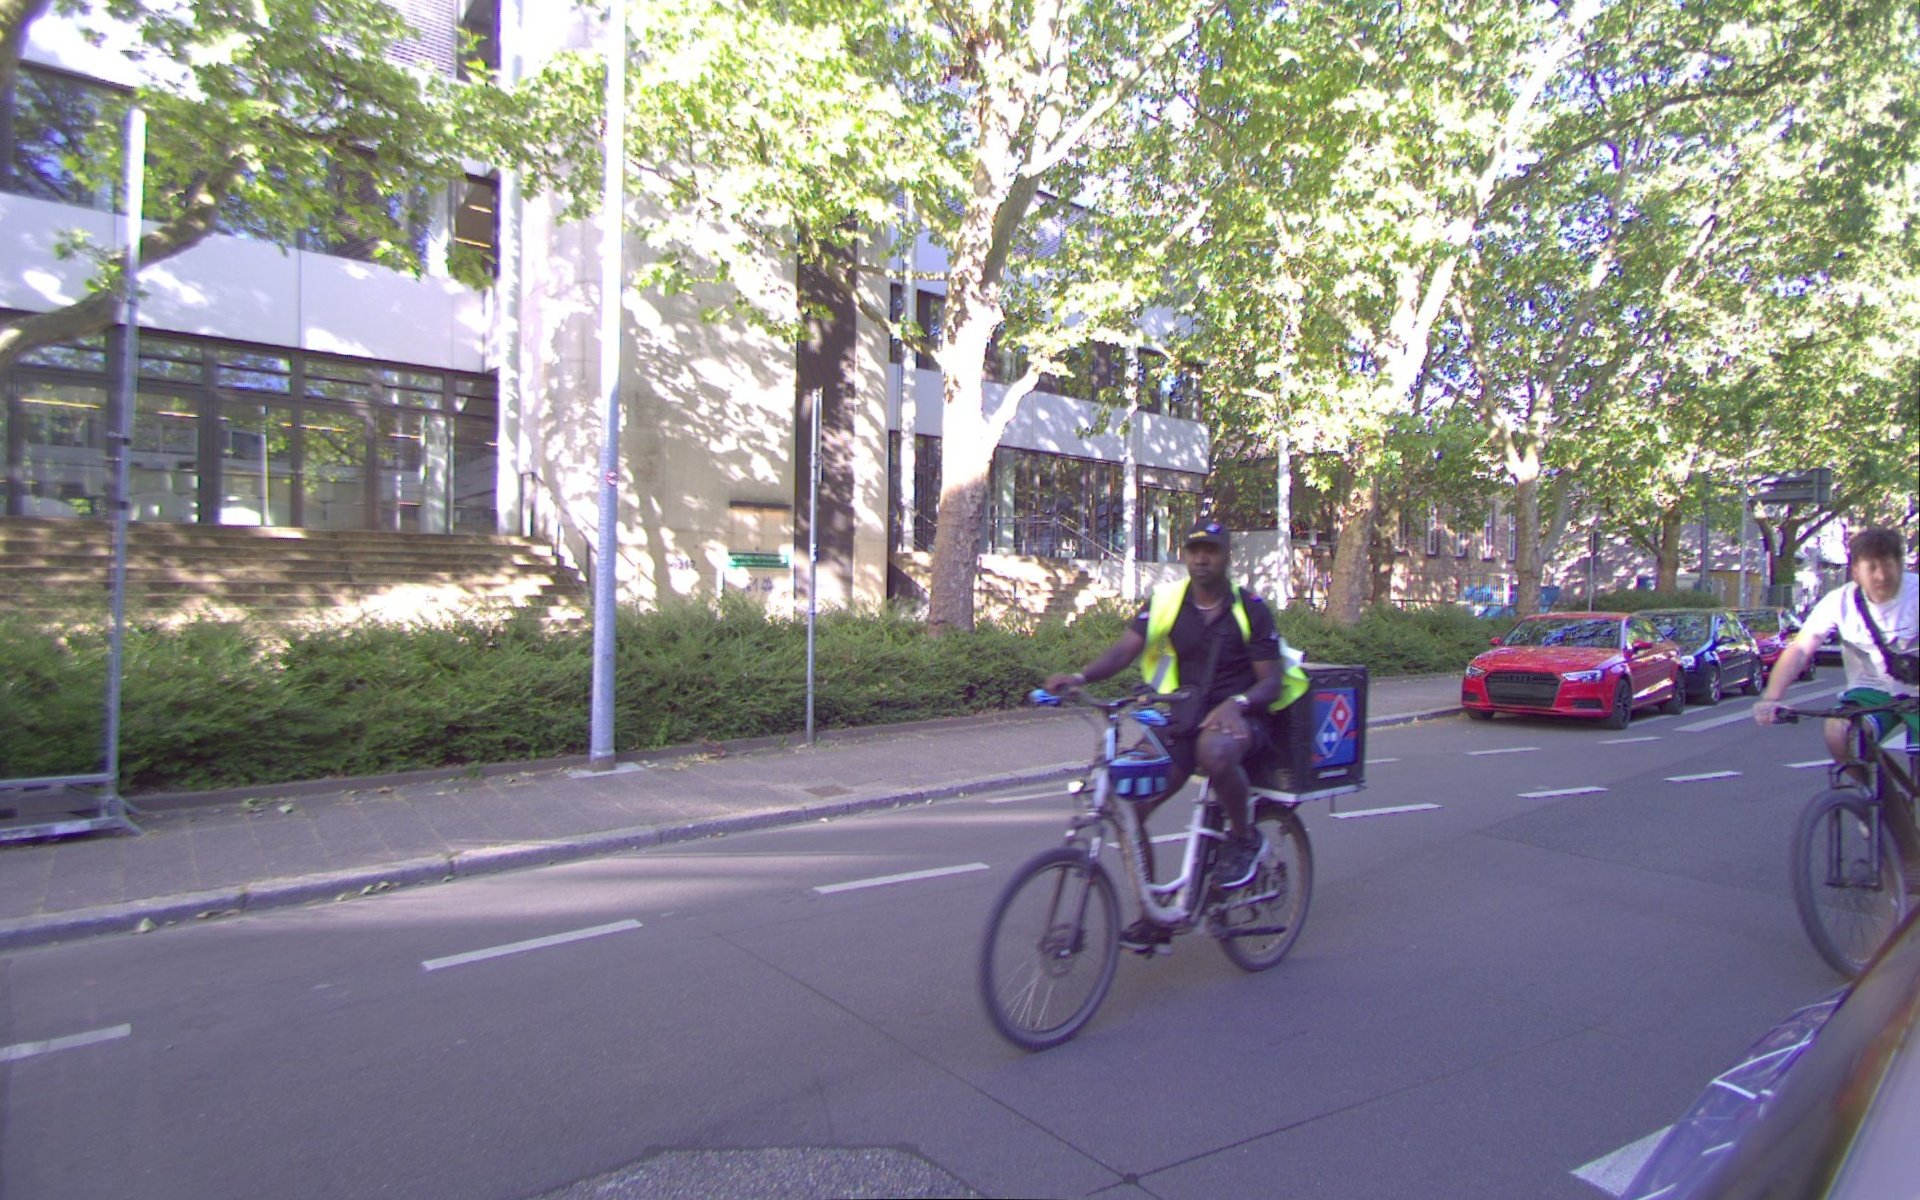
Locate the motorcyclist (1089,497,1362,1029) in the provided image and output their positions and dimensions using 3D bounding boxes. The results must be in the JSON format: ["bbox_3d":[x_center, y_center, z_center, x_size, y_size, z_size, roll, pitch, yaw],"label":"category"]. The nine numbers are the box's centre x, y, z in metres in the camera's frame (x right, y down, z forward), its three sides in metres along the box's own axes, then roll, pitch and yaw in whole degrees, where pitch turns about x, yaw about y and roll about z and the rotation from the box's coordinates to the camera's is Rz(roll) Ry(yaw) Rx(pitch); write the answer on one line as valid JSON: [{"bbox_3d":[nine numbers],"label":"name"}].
[{"bbox_3d":[1.012,0.536,3.876,0.738,1.765,0.718,0,0,-41],"label":"motorcyclist"}]

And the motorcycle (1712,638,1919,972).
[{"bbox_3d":[4.221,0.811,4.628,1.896,1.183,0.864,-1,0,-41],"label":"motorcycle"}]

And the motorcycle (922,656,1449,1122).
[{"bbox_3d":[0.960,0.856,3.824,2.197,1.146,0.798,-1,0,-41],"label":"motorcycle"}]

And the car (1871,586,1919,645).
[{"bbox_3d":[31.172,0.467,33.022,4.497,1.814,1.632,-1,0,-41],"label":"car"}]

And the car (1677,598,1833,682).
[{"bbox_3d":[15.744,0.703,19.981,3.854,1.467,1.691,-1,0,-40],"label":"car"}]

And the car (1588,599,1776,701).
[{"bbox_3d":[11.856,0.725,16.554,3.632,1.436,1.668,-1,0,-40],"label":"car"}]

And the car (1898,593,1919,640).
[{"bbox_3d":[35.536,0.566,36.794,4.497,1.633,1.632,-1,0,-41],"label":"car"}]

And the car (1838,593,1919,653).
[{"bbox_3d":[26.634,0.598,29.054,4.158,1.598,1.632,-1,0,-41],"label":"car"}]

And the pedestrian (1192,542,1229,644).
[{"bbox_3d":[5.086,-0.146,20.526,0.549,2.039,0.555,0,0,38],"label":"pedestrian"}]

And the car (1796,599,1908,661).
[{"bbox_3d":[22.949,0.706,25.996,3.855,1.441,1.691,-1,0,-41],"label":"car"}]

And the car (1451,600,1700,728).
[{"bbox_3d":[8.302,0.732,13.524,3.931,1.409,1.792,-1,1,-42],"label":"car"}]

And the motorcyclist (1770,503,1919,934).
[{"bbox_3d":[4.320,0.492,4.606,0.897,1.811,0.832,0,0,-41],"label":"motorcyclist"}]
